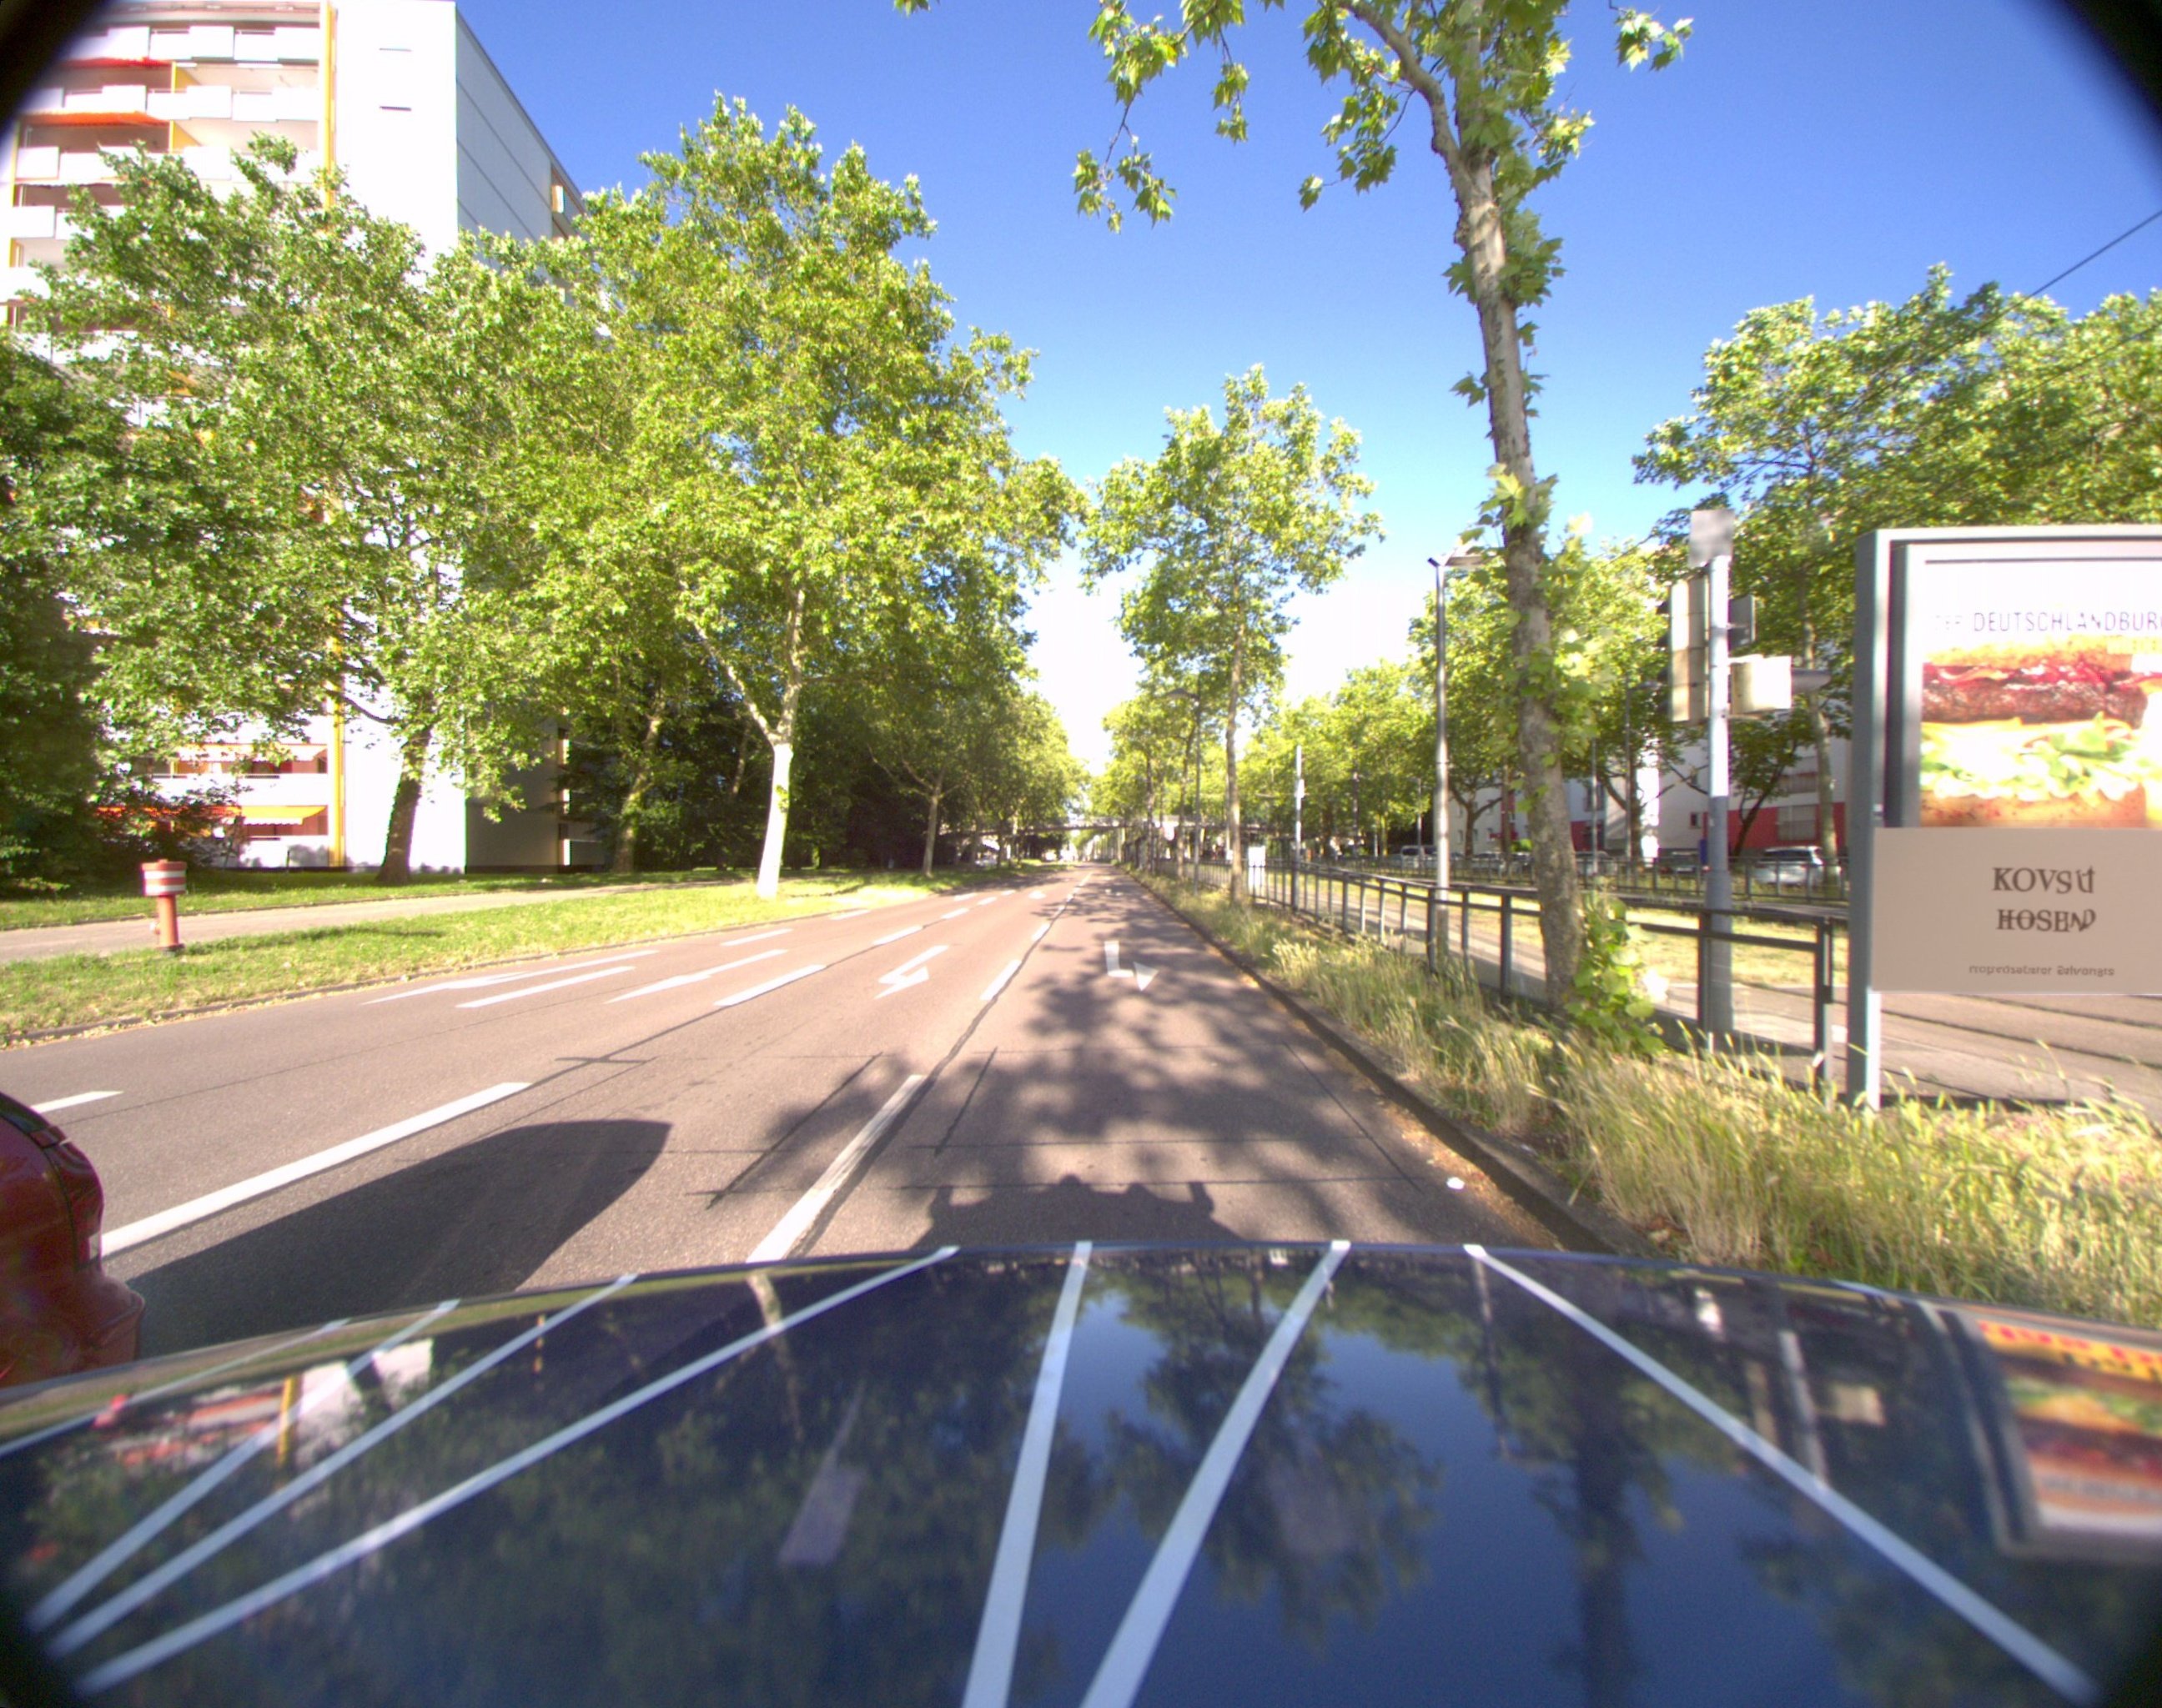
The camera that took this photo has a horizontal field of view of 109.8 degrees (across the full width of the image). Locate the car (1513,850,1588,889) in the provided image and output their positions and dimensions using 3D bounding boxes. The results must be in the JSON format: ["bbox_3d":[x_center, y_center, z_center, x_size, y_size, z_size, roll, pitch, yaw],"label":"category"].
[{"bbox_3d":[20.191,0.643,32.782,1.579,1.548,2.817,-2,0,3],"label":"car"}]

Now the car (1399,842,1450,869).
[{"bbox_3d":[25.817,0.085,57.029,4.330,1.863,1.836,-2,0,-42],"label":"car"}]

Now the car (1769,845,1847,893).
[{"bbox_3d":[25.354,0.486,26.475,3.811,1.501,1.652,-2,0,-42],"label":"car"}]

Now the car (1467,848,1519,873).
[{"bbox_3d":[25.849,0.393,47.678,3.811,1.433,1.652,-2,0,-42],"label":"car"}]

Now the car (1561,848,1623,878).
[{"bbox_3d":[25.380,0.444,37.697,3.811,1.348,1.652,-2,0,-42],"label":"car"}]

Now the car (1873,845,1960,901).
[{"bbox_3d":[25.241,0.521,22.966,3.811,1.501,1.652,-2,0,-42],"label":"car"}]

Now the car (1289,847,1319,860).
[{"bbox_3d":[26.439,-0.053,89.974,3.811,1.433,1.652,-2,0,-42],"label":"car"}]

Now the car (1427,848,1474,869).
[{"bbox_3d":[26.300,0.306,54.031,3.811,1.433,1.652,-2,0,-42],"label":"car"}]

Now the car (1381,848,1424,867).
[{"bbox_3d":[25.728,0.265,60.751,3.811,1.433,1.652,-2,0,-42],"label":"car"}]

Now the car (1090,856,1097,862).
[{"bbox_3d":[3.449,1.385,209.087,1.580,1.395,3.638,-2,0,0],"label":"car"}]

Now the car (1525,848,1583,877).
[{"bbox_3d":[25.861,0.439,41.478,3.811,1.433,1.652,-2,0,-42],"label":"car"}]

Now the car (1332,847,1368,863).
[{"bbox_3d":[26.065,0.129,73.564,3.811,1.433,1.652,-2,0,-42],"label":"car"}]

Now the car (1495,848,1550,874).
[{"bbox_3d":[26.096,0.403,44.864,3.811,1.433,1.652,-2,0,-42],"label":"car"}]

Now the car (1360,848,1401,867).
[{"bbox_3d":[24.942,0.268,63.209,3.811,1.433,1.652,-2,0,-42],"label":"car"}]

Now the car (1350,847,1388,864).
[{"bbox_3d":[26.618,0.130,70.133,3.811,1.433,1.652,-2,0,-42],"label":"car"}]

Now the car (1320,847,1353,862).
[{"bbox_3d":[26.786,0.040,79.625,3.811,1.433,1.652,-2,0,-42],"label":"car"}]
